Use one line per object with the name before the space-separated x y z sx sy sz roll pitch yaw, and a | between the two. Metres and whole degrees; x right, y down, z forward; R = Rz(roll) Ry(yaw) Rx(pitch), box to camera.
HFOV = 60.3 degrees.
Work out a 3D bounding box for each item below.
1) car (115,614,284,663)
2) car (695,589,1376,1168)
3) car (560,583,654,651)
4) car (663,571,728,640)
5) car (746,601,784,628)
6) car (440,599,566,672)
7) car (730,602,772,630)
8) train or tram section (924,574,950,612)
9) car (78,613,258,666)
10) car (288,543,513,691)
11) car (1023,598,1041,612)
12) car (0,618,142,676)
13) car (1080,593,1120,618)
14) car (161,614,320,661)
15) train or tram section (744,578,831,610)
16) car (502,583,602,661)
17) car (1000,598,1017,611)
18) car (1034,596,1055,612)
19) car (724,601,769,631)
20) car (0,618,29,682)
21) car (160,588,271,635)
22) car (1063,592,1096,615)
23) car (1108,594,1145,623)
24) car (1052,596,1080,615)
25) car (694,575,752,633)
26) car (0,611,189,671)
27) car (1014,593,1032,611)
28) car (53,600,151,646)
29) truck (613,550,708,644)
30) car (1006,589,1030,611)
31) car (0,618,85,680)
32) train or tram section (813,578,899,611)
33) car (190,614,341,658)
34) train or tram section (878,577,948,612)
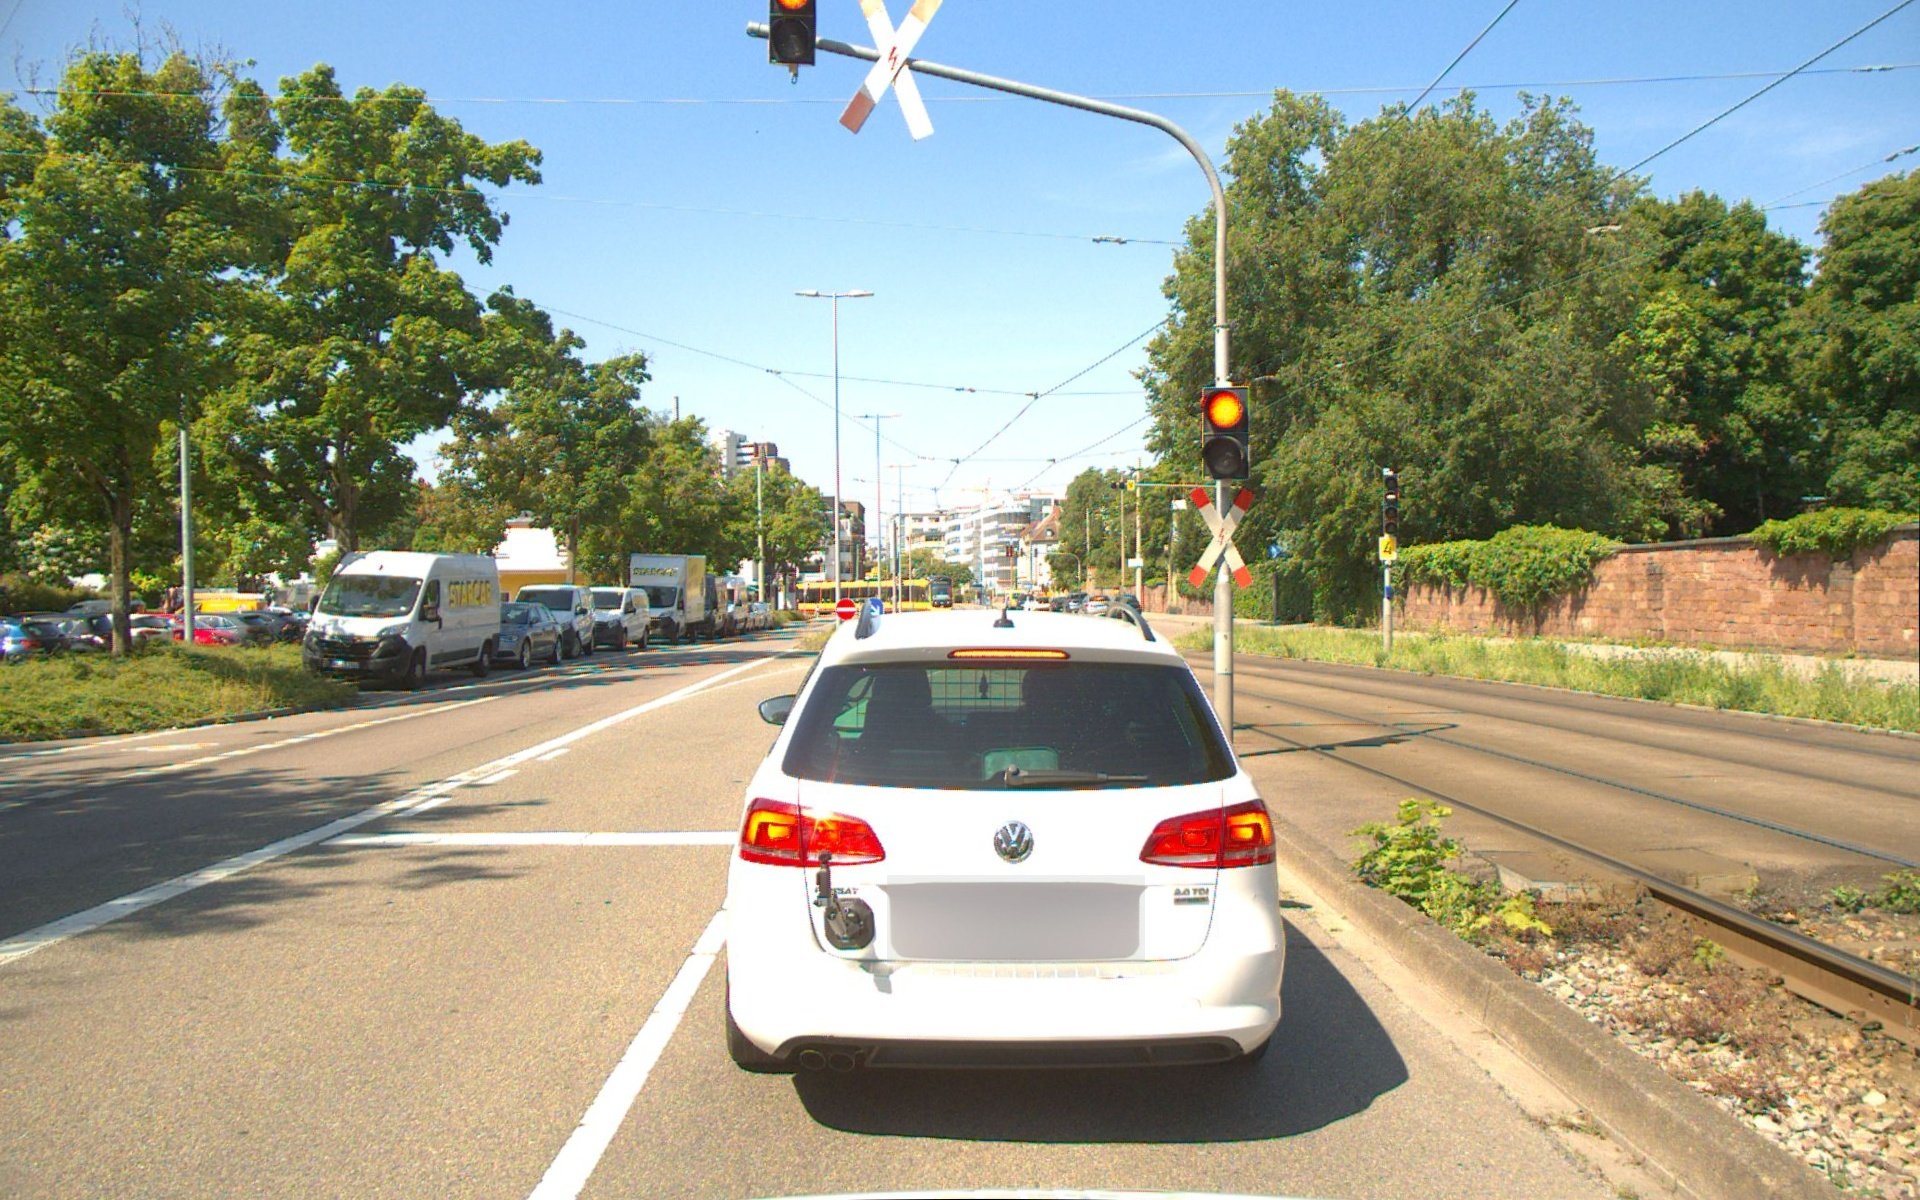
car | -21.361 1.068 46.563 3.904 1.246 1.772 -1 0 2
car | 0.145 0.712 6.214 1.732 1.471 3.912 1 0 -2
car | -10.958 0.491 51.654 1.806 1.995 5.133 -1 0 0
car | -10.830 0.201 68.015 1.806 2.715 5.003 -1 0 0
car | -11.359 0.819 96.403 1.744 1.458 4.037 -1 0 -1
car | -10.565 0.772 38.530 1.806 1.543 4.196 -1 0 -1
car | -11.404 0.861 90.516 1.806 1.458 4.037 -1 0 -1
train or tram section | -2.186 -0.582 154.048 2.255 3.309 11.270 1 -1 -2
car | -21.007 1.032 43.974 3.904 1.286 1.772 -1 0 2
car | -10.743 0.278 32.379 2.016 2.544 6.309 2 0 2
car | 7.041 0.475 162.357 1.549 1.370 3.453 1 -1 -1
car | -21.625 1.109 38.866 3.904 1.246 1.772 -1 0 2
car | 8.385 0.315 99.265 1.824 1.441 4.323 1 0 -2
car | -21.350 1.097 49.159 3.904 1.246 1.772 -1 0 2
train or tram section | -18.673 -0.707 178.557 10.591 3.310 2.300 1 -1 36
car | -11.067 0.554 45.197 1.807 1.971 5.189 -1 0 -5
car | 6.165 0.594 210.207 1.953 1.624 3.999 1 -1 0
car | 7.508 0.354 146.881 1.549 1.370 3.453 1 -1 -1
car | -10.968 0.802 85.267 1.806 1.458 4.037 -1 0 -1
car | -20.970 1.044 32.832 3.907 1.246 1.770 -1 0 -3
car | -34.371 0.530 76.453 4.175 2.049 1.997 1 -1 -7
car | 8.190 0.217 113.700 1.824 1.539 3.911 1 0 -2
car | 8.613 0.426 85.904 1.709 1.412 3.915 1 0 3
car | 8.156 0.419 127.518 1.711 1.432 3.911 1 0 -3
car | -10.801 0.154 75.778 1.806 2.538 5.856 -1 0 0
car | -21.757 1.021 41.545 3.904 1.373 1.772 -1 0 2
car | 6.700 0.215 175.368 1.657 1.844 3.453 1 -1 -1
car | -36.994 0.983 71.341 3.354 1.909 1.552 -1 0 -3
truck | -10.795 -0.123 60.153 2.309 3.177 6.889 -1 0 -2
car | 6.828 -0.016 195.790 2.413 2.542 5.908 1 -1 -1
car | -21.294 1.078 35.645 3.904 1.246 1.772 -1 0 2
train or tram section | -10.844 -0.608 171.718 2.292 3.310 10.836 2 -1 -45
car | -21.583 1.108 51.479 3.904 1.246 1.772 -1 0 2
train or tram section | -4.763 -0.554 163.579 2.276 3.309 10.703 1 -1 -29
